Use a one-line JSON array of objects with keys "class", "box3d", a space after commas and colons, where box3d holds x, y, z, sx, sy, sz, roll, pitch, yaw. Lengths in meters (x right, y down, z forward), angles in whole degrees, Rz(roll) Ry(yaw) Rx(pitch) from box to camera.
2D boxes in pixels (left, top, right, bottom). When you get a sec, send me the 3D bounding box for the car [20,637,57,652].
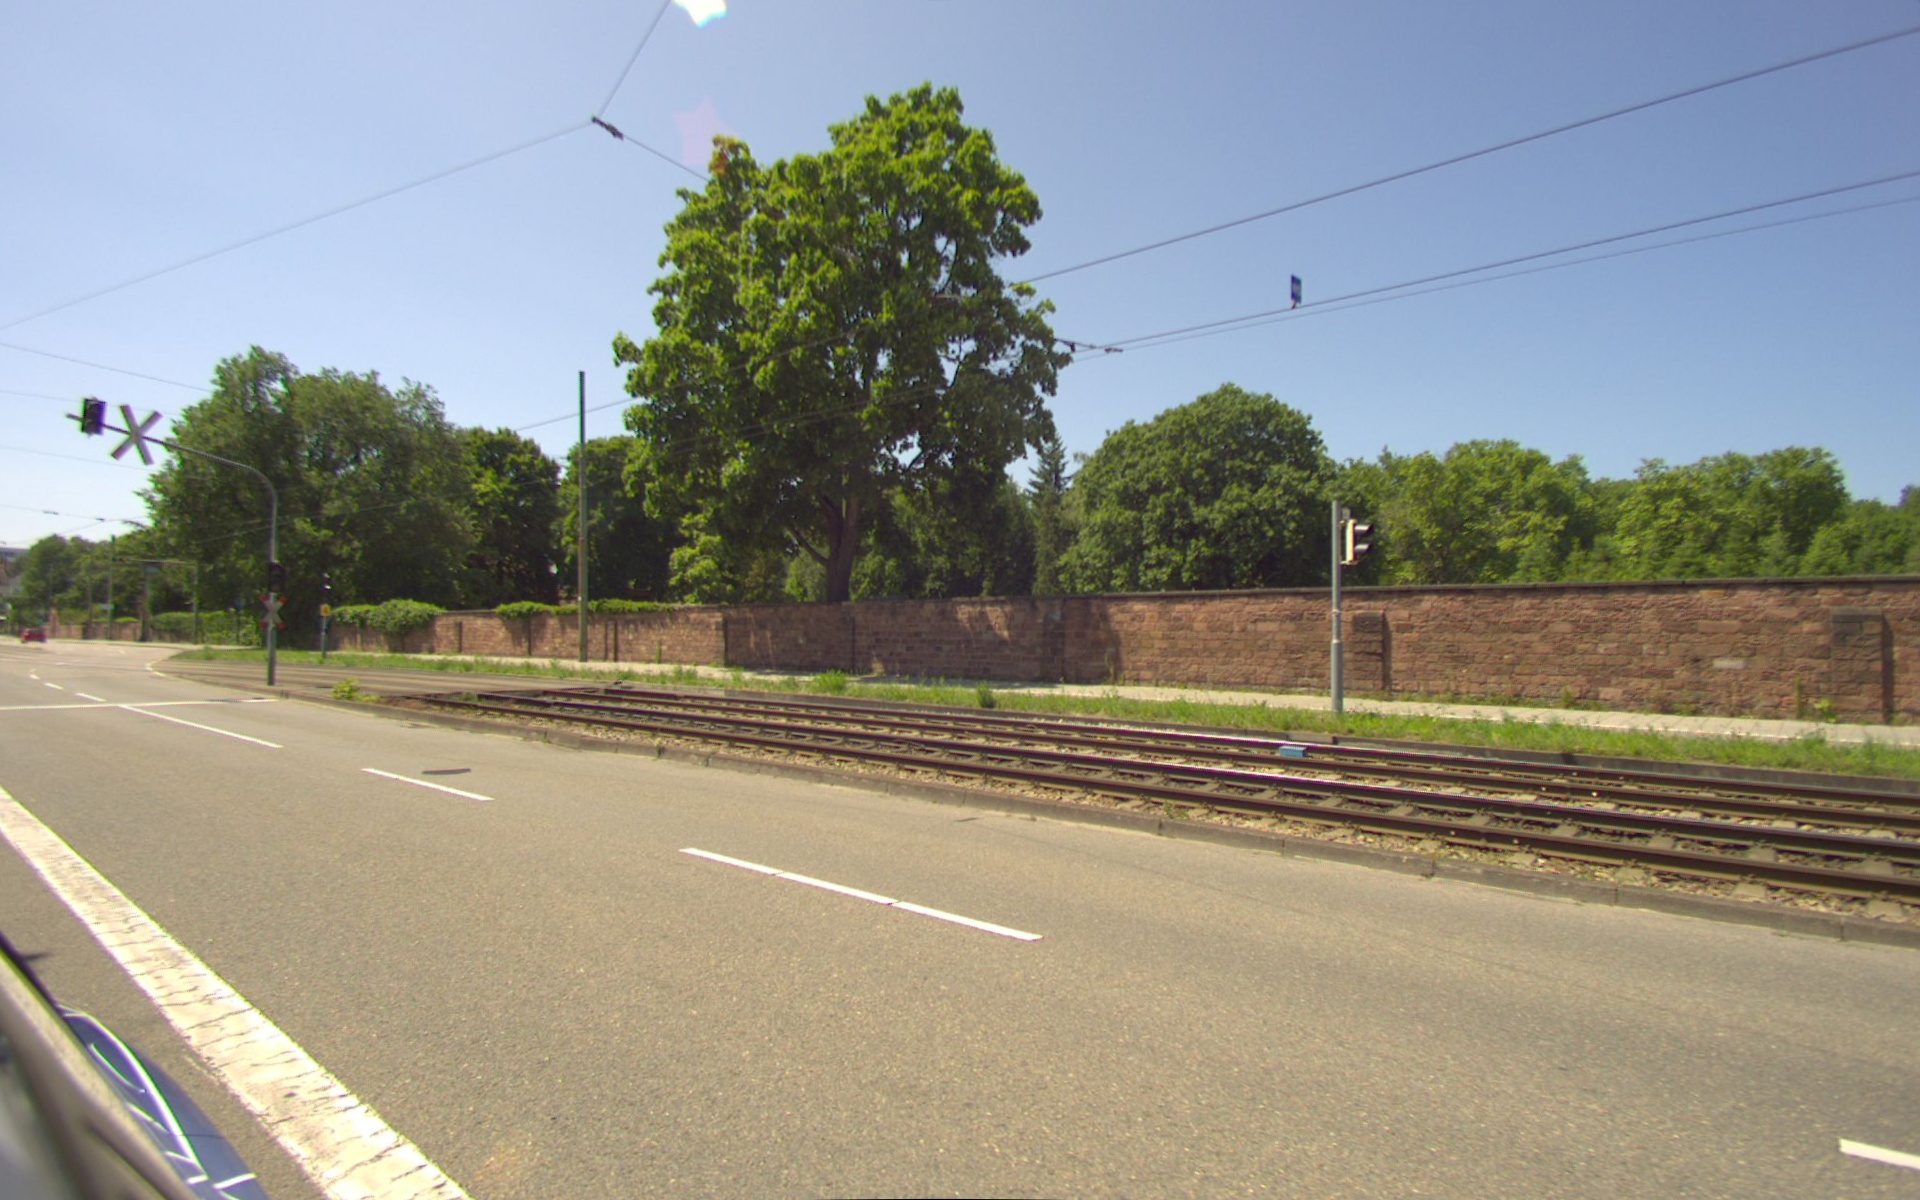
[{"class": "car", "box3d": [-93.978, 4.547, 103.289, 1.682, 1.425, 4.295, 0, -2, -27]}]
